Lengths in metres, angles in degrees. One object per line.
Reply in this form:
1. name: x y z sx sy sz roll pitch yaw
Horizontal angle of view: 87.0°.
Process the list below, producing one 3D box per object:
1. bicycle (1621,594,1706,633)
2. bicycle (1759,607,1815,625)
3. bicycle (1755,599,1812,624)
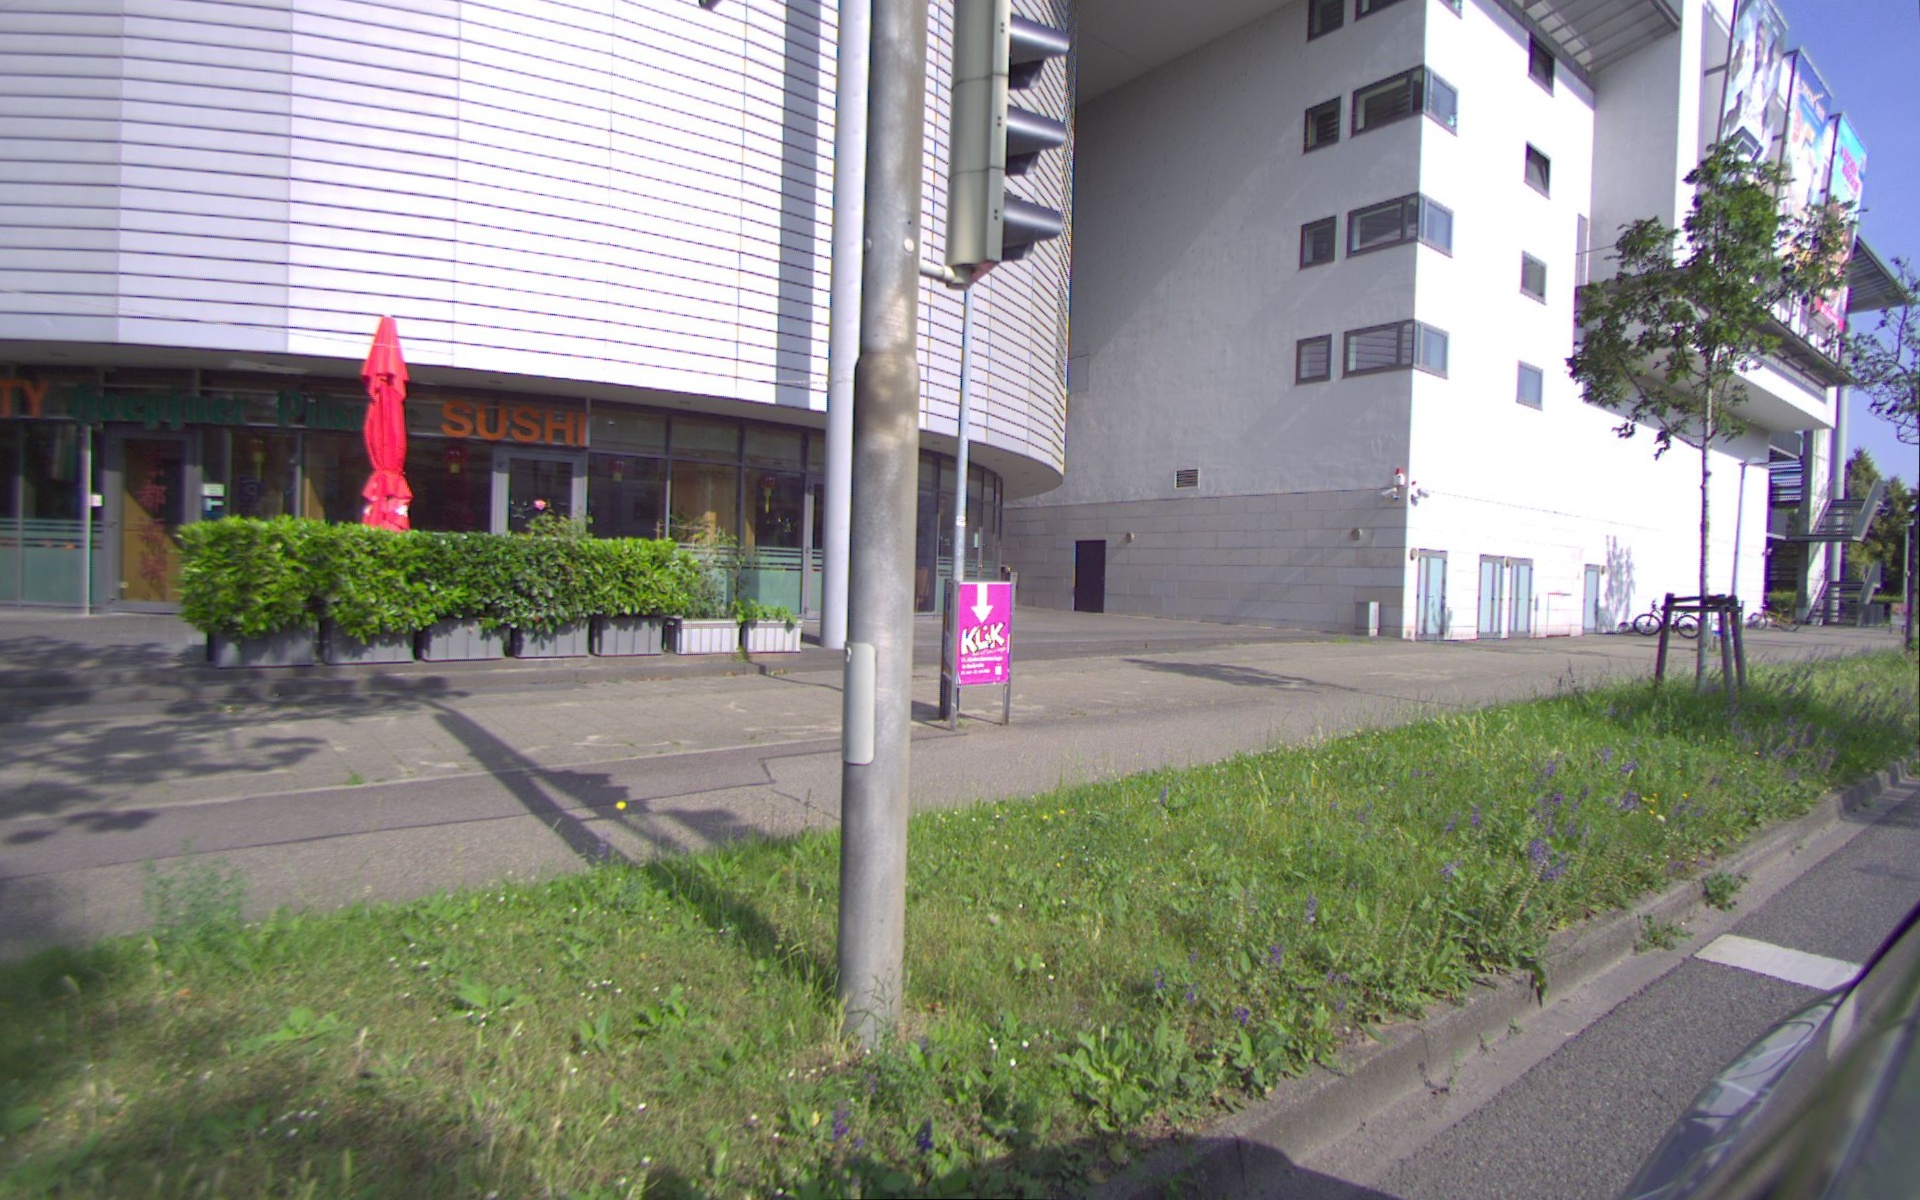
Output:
1. bicycle: 21.605 0.388 31.116 0.662 1.116 2.016 1 1 -34
2. bicycle: 33.212 0.629 40.669 0.528 0.653 1.662 1 2 -38
3. bicycle: 32.746 0.435 40.253 0.474 0.926 1.662 1 2 -38
